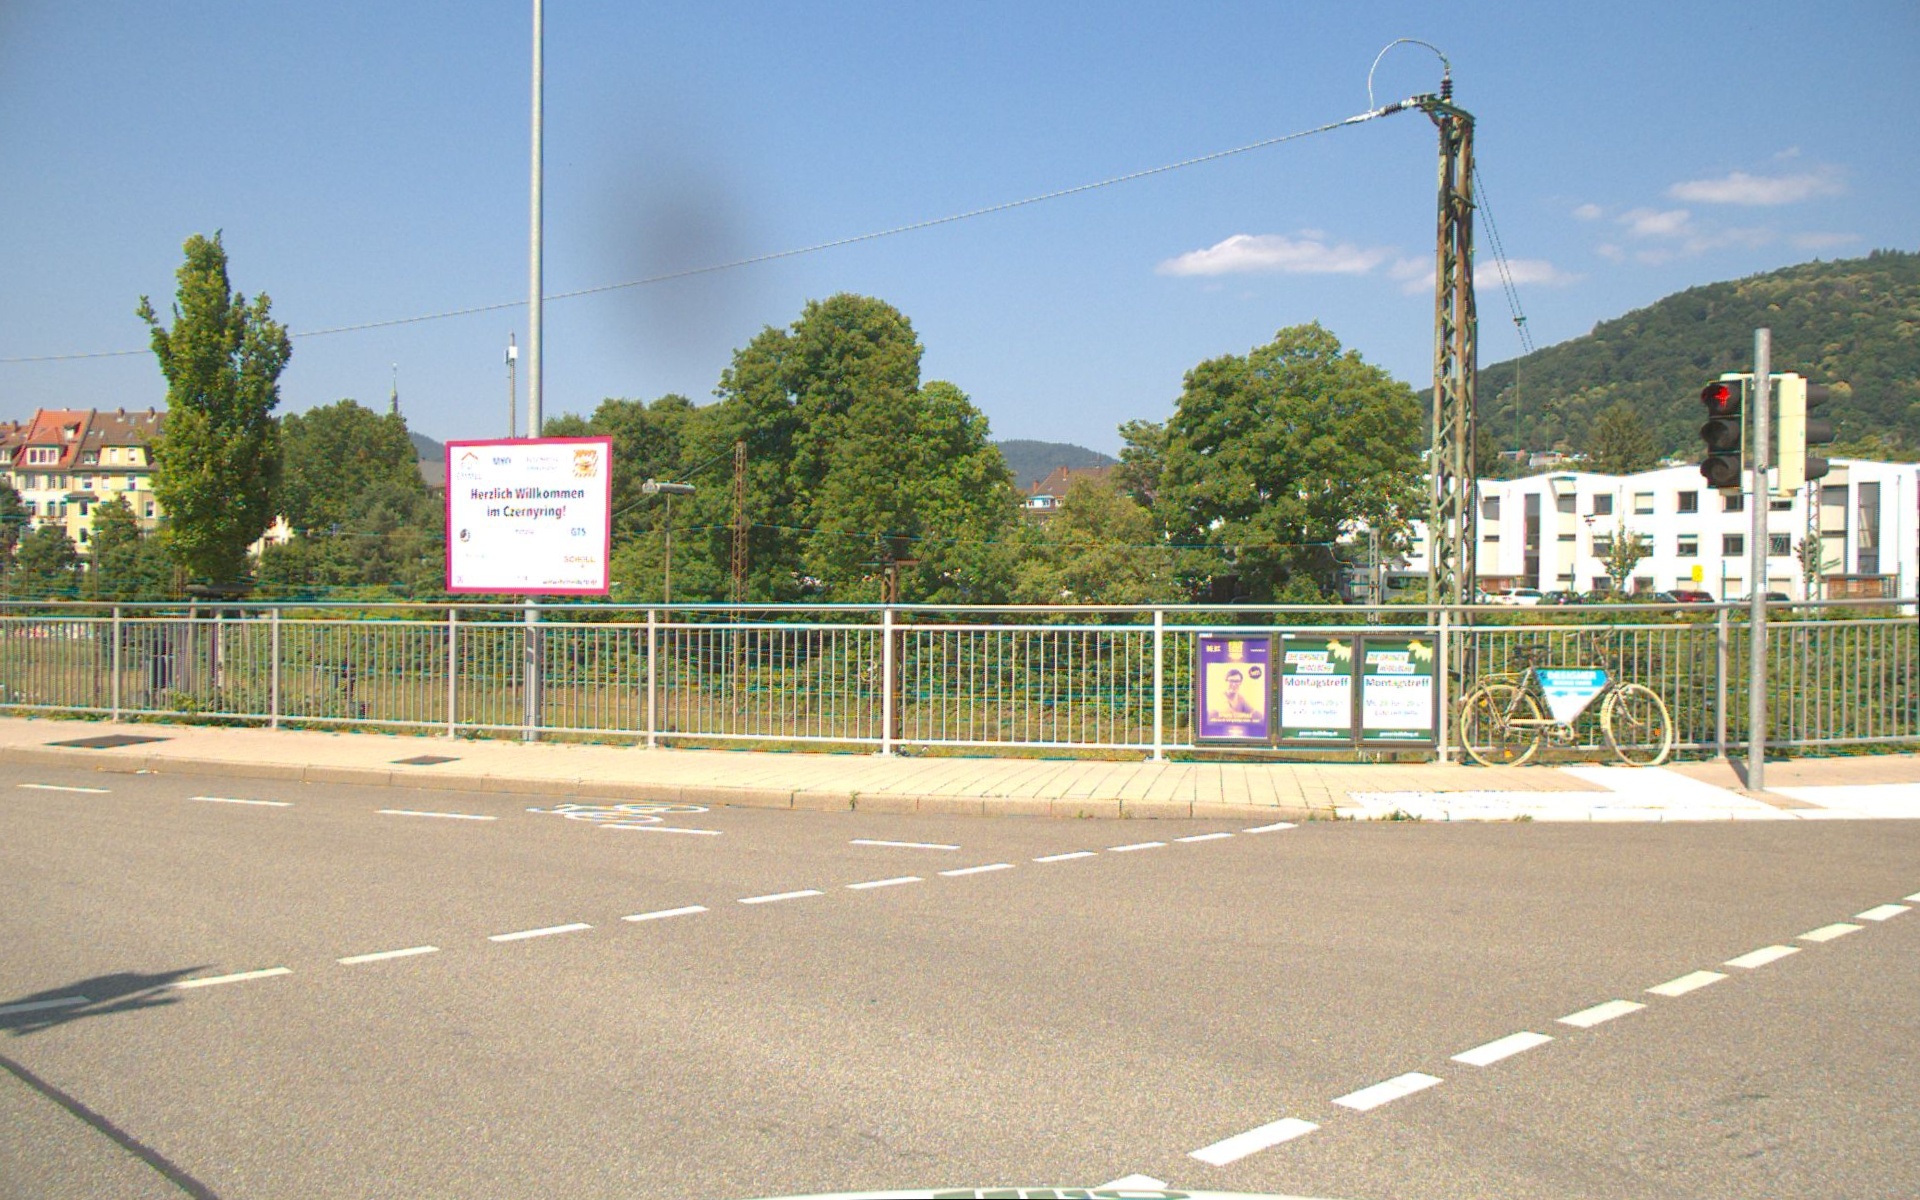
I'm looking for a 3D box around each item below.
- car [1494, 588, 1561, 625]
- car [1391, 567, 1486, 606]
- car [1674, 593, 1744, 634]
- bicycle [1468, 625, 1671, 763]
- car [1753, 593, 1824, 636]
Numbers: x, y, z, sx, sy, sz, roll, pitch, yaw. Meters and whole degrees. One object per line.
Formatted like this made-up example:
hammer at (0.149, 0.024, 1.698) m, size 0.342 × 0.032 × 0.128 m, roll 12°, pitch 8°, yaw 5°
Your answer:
car at (33.211, 0.351, 96.729) m, size 4.437 × 2.049 × 1.967 m, roll -1°, pitch 1°, yaw -45°
car at (27.243, -0.791, 94.184) m, size 4.880 × 2.149 × 1.997 m, roll 1°, pitch 1°, yaw 29°
car at (39.641, 0.681, 87.496) m, size 4.437 × 2.049 × 1.967 m, roll -1°, pitch 1°, yaw -45°
bicycle at (5.064, 0.774, 13.767) m, size 1.582 × 1.120 × 0.298 m, roll 0°, pitch 1°, yaw -1°
car at (42.284, 0.718, 84.367) m, size 4.437 × 2.049 × 1.967 m, roll -1°, pitch 1°, yaw -45°
